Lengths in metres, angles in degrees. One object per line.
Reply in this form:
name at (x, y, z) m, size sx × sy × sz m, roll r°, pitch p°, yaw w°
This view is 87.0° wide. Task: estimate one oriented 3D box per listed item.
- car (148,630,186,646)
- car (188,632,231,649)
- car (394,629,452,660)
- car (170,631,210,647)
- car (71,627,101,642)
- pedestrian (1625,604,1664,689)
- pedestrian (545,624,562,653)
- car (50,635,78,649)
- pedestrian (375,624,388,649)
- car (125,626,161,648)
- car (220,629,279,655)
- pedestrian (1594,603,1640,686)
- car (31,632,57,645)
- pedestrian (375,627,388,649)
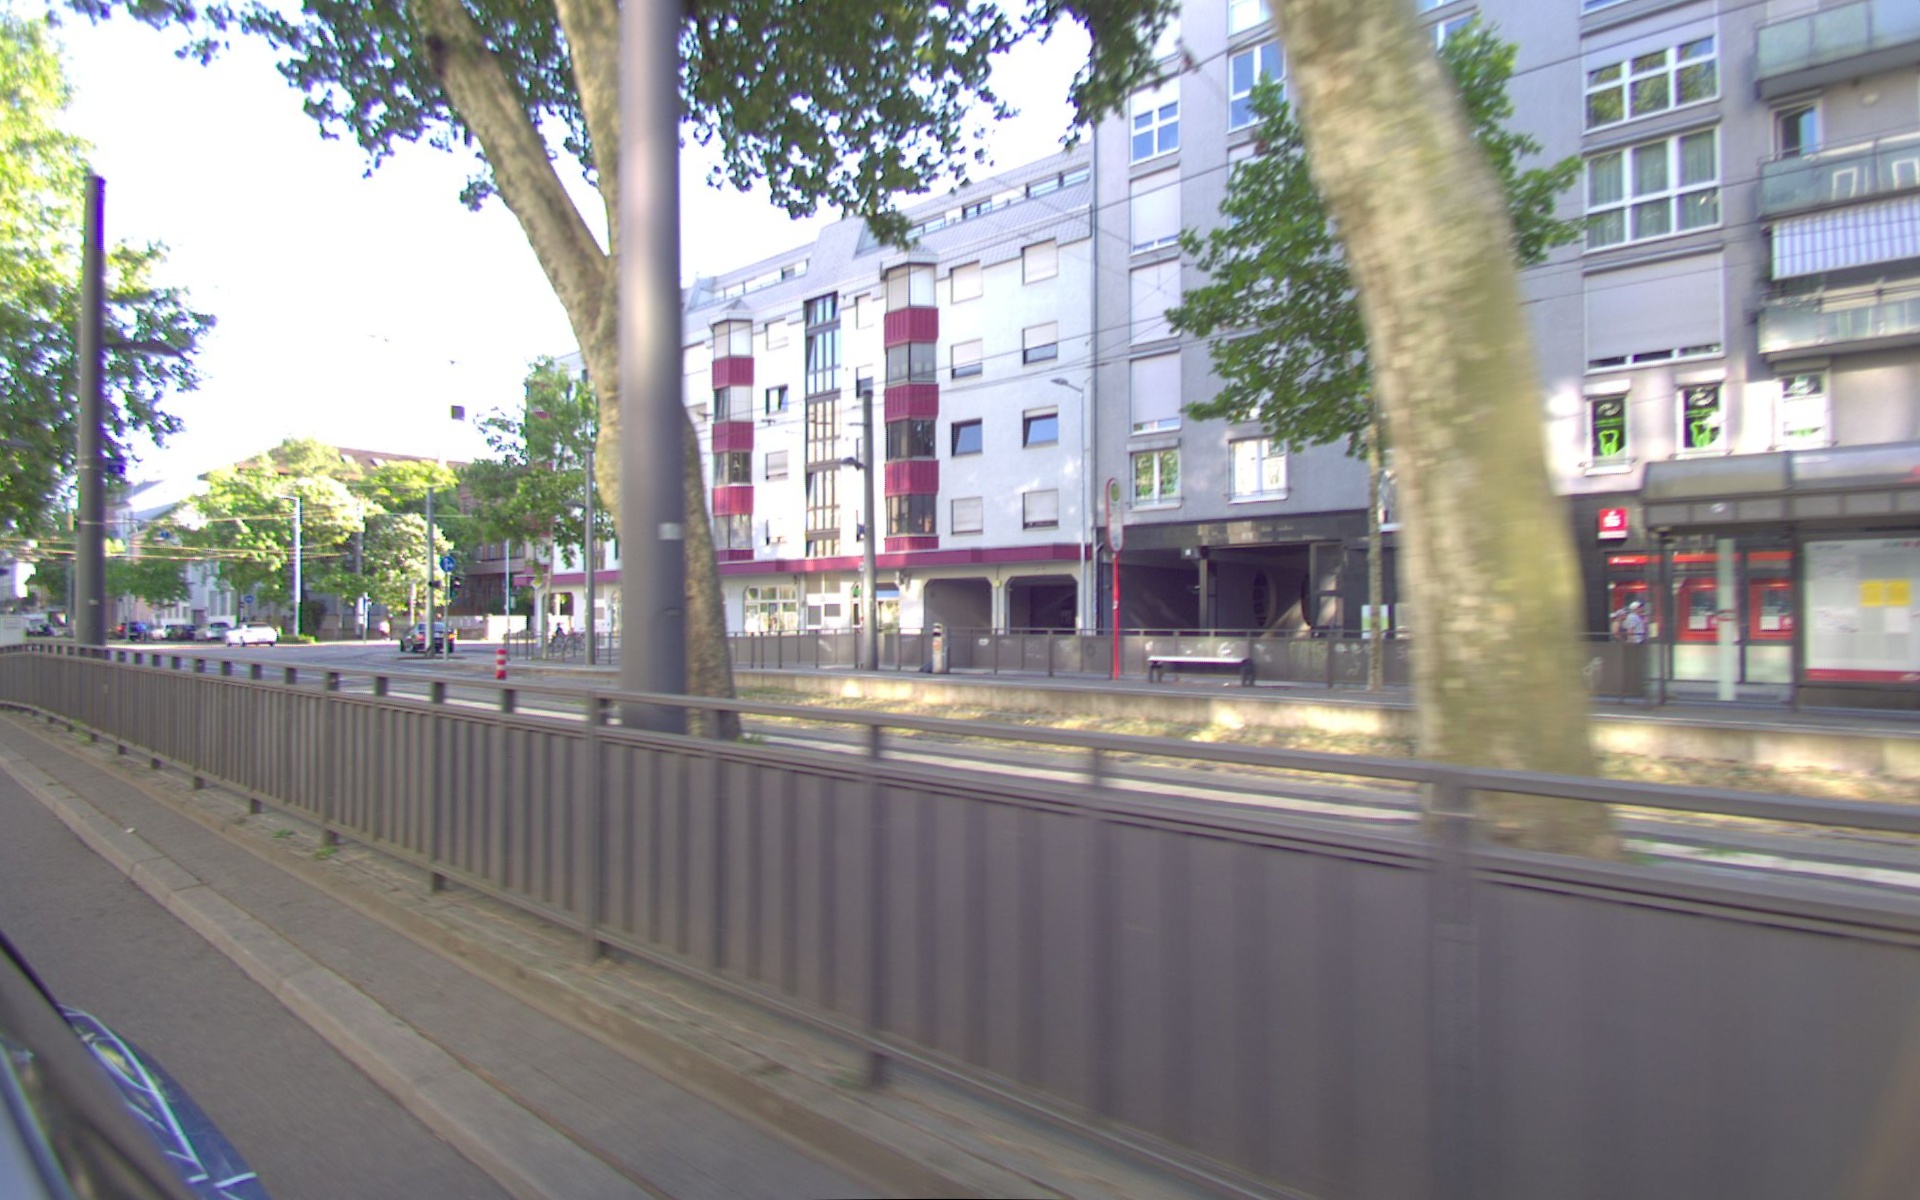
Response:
car at (-69.350, 3.315, 88.464) m, size 3.998 × 1.276 × 1.871 m, roll -1°, pitch -2°, yaw 41°
car at (-59.546, 3.218, 80.271) m, size 3.998 × 1.276 × 1.871 m, roll -1°, pitch -2°, yaw 41°
car at (-25.342, 2.048, 47.702) m, size 1.625 × 1.364 × 3.907 m, roll 1°, pitch -2°, yaw -40°
car at (-64.479, 3.265, 84.705) m, size 3.998 × 1.276 × 1.871 m, roll -1°, pitch -2°, yaw 41°
car at (-92.161, 3.640, 106.677) m, size 3.998 × 1.490 × 1.871 m, roll -1°, pitch -2°, yaw 41°
pedestrian at (14.633, 0.976, 21.625) m, size 0.628 × 1.784 × 0.497 m, roll -1°, pitch 0°, yaw 41°
pedestrian at (-22.994, 2.173, 57.294) m, size 0.658 × 1.635 × 0.801 m, roll -1°, pitch 0°, yaw -40°
car at (-104.807, 4.909, 118.362) m, size 3.998 × 1.573 × 1.871 m, roll -1°, pitch -2°, yaw 41°
pedestrian at (-40.894, 2.592, 71.522) m, size 0.594 × 1.717 × 0.670 m, roll -1°, pitch 0°, yaw -10°
car at (-73.986, 3.300, 91.612) m, size 3.911 × 1.851 × 1.838 m, roll -1°, pitch 0°, yaw 40°
car at (-42.937, 2.522, 61.122) m, size 3.998 × 1.475 × 1.973 m, roll -1°, pitch -2°, yaw 41°
pedestrian at (14.582, 0.972, 22.472) m, size 0.784 × 1.784 × 0.497 m, roll -1°, pitch 0°, yaw 41°
car at (-113.685, 4.791, 125.587) m, size 3.998 × 1.573 × 1.871 m, roll -1°, pitch -2°, yaw 41°
pedestrian at (-40.783, 2.692, 71.302) m, size 0.582 × 1.518 × 0.649 m, roll 0°, pitch -1°, yaw -8°
